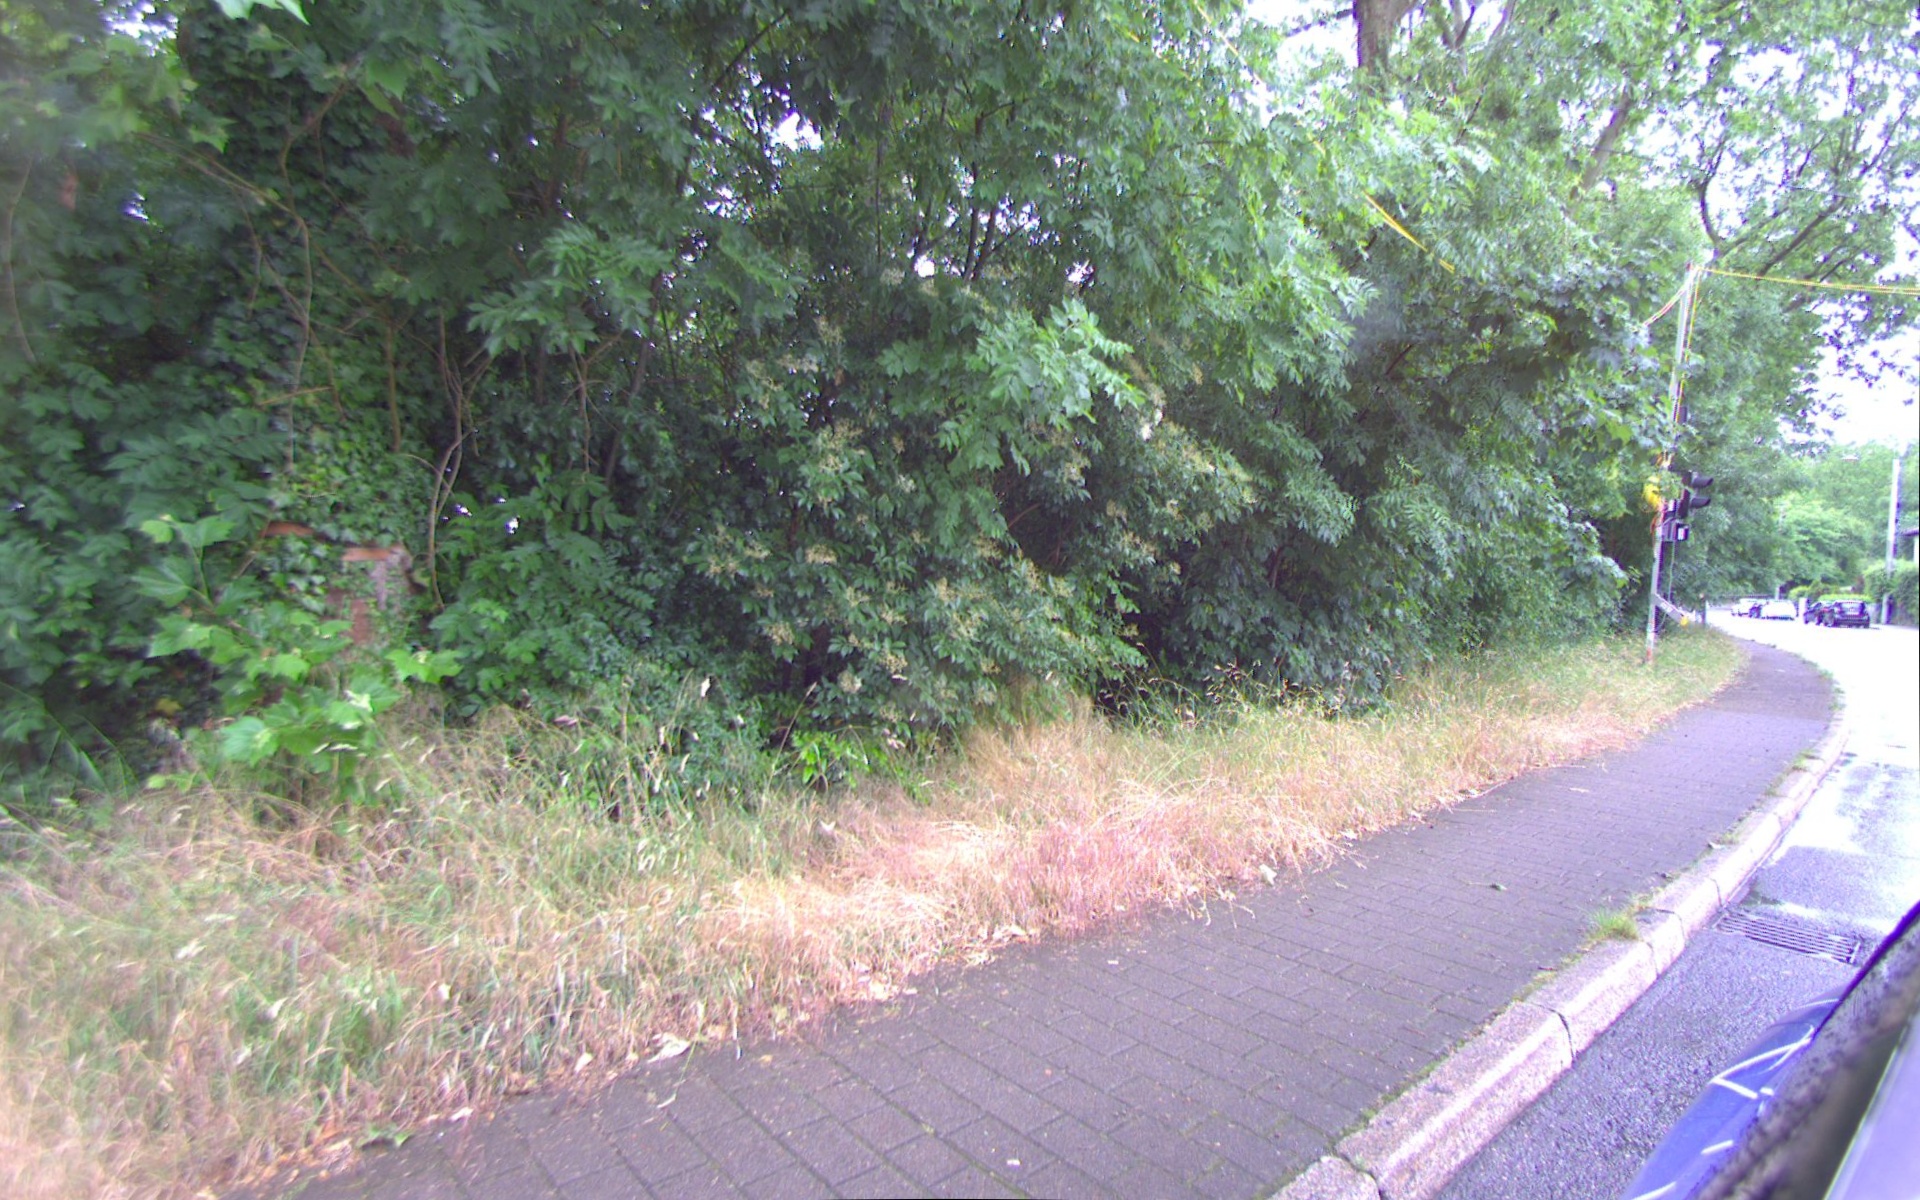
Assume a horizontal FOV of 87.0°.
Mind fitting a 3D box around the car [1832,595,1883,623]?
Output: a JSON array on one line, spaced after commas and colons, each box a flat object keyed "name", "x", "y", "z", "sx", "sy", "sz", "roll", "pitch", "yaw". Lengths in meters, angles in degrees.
[{"name": "car", "x": 50.808, "y": 0.480, "z": 57.332, "sx": 1.512, "sy": 1.472, "sz": 2.996, "roll": 3, "pitch": 2, "yaw": 31}]

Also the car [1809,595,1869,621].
[{"name": "car", "x": 52.857, "y": 0.437, "z": 60.929, "sx": 1.678, "sy": 1.435, "sz": 4.175, "roll": 3, "pitch": 2, "yaw": 27}]

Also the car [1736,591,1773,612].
[{"name": "car", "x": 64.878, "y": 0.111, "z": 82.715, "sx": 1.724, "sy": 1.439, "sz": 4.239, "roll": -3, "pitch": 1, "yaw": 31}]

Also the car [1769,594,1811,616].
[{"name": "car", "x": 60.423, "y": 0.320, "z": 73.714, "sx": 1.688, "sy": 1.486, "sz": 3.674, "roll": 1, "pitch": 1, "yaw": 29}]

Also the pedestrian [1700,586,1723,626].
[{"name": "pedestrian", "x": 31.623, "y": 0.236, "z": 42.593, "sx": 0.638, "sy": 1.631, "sz": 0.663, "roll": 1, "pitch": 2, "yaw": 30}]
